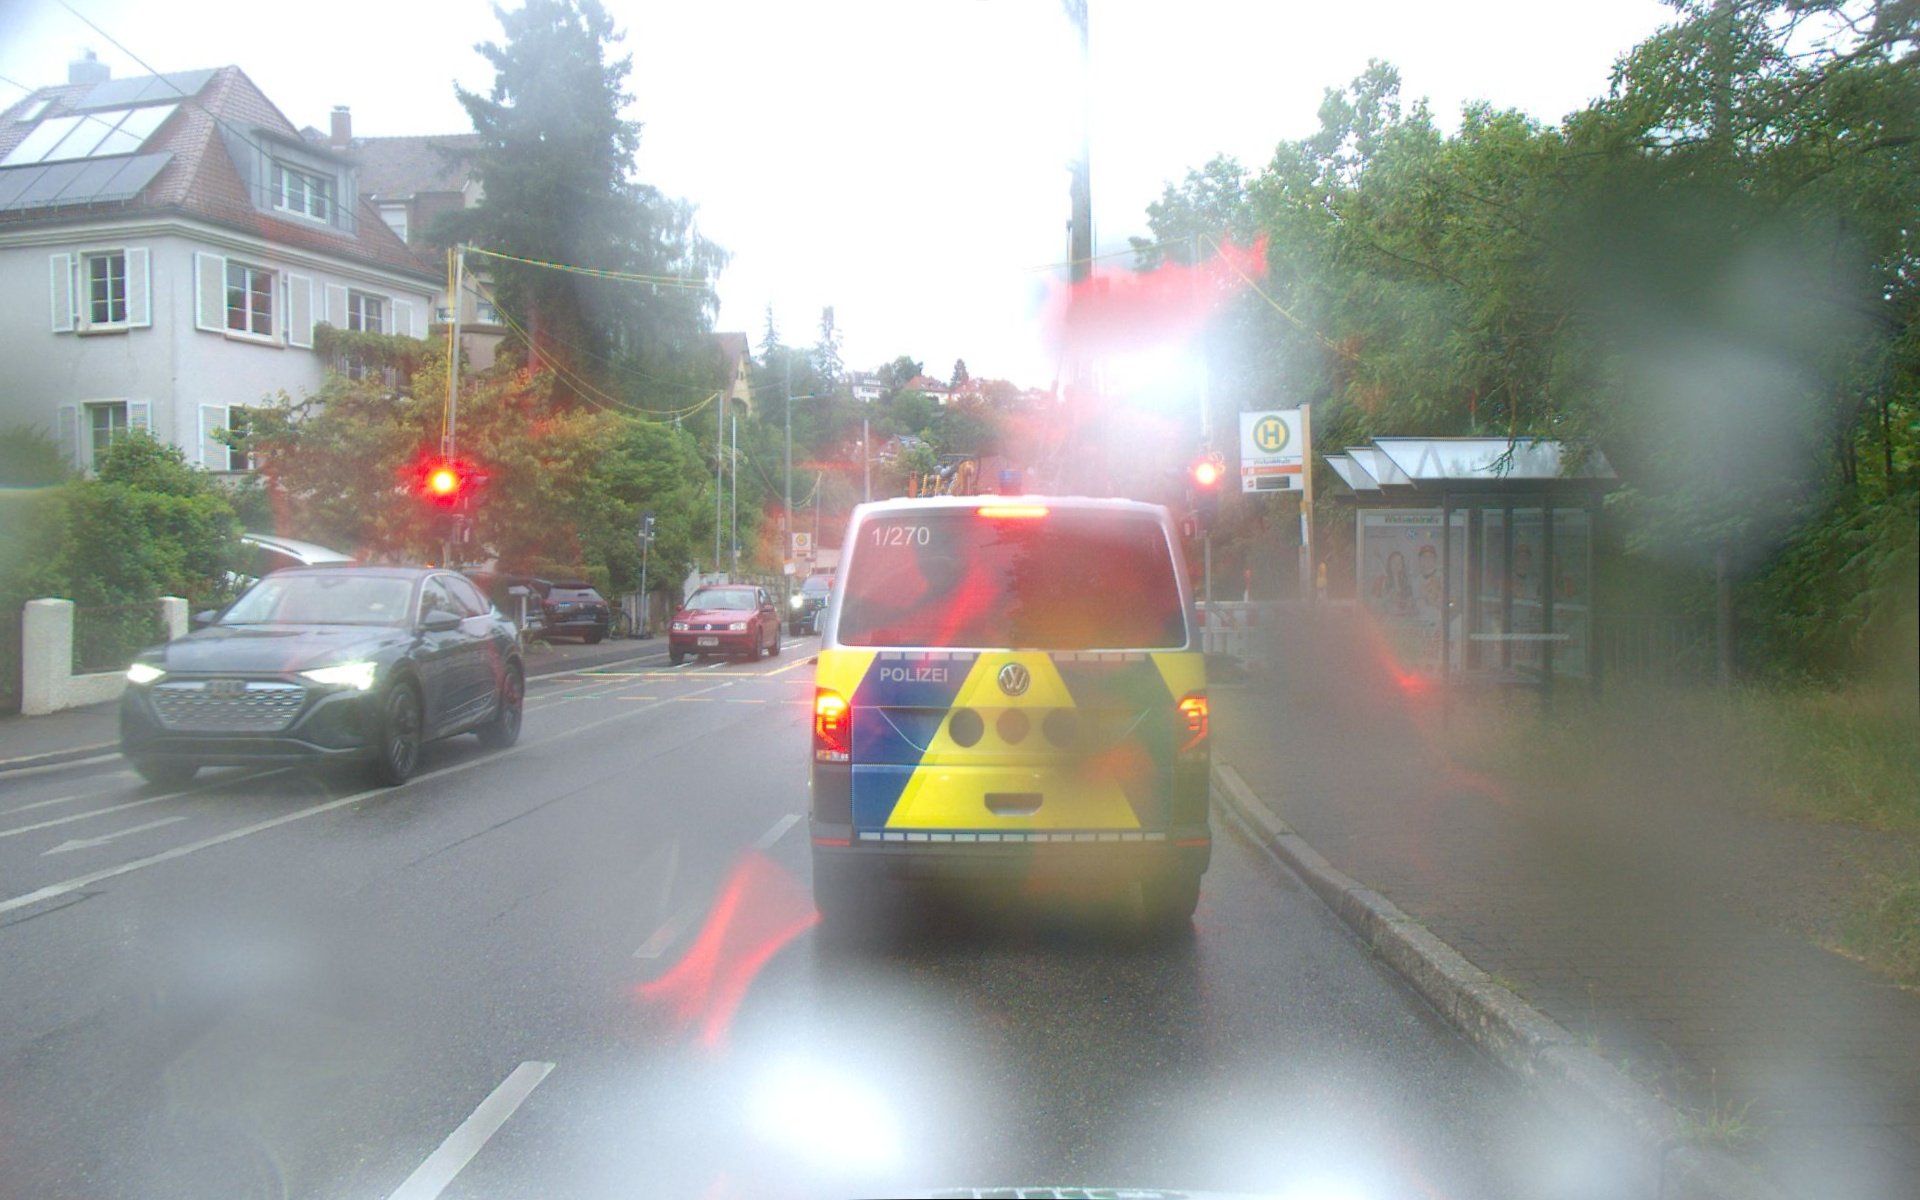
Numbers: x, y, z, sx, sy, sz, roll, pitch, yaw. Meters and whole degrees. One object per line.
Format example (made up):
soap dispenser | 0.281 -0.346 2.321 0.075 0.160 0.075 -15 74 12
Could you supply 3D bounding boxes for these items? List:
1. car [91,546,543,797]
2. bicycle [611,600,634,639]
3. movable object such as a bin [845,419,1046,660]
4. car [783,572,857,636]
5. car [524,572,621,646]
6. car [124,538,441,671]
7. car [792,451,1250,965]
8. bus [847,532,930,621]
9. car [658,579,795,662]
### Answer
car | -4.986 0.479 13.650 1.953 1.703 4.687 0 0 -1
bicycle | -8.052 0.459 39.450 0.455 0.913 1.628 0 0 -15
movable object such as a bin | -0.165 -1.100 31.634 2.770 4.250 4.384 1 0 14
car | -4.102 0.094 49.096 1.939 1.778 4.552 1 1 -2
car | -8.909 0.169 37.825 1.739 1.512 3.721 1 2 -20
car | -11.208 0.051 27.486 4.532 2.042 1.902 1 0 11
car | 0.226 0.434 8.816 1.855 2.086 3.999 1 0 -1
bus | -3.146 -1.048 76.579 2.782 3.783 12.009 1 0 2
car | -4.480 0.348 32.239 1.727 1.488 3.889 1 1 6
